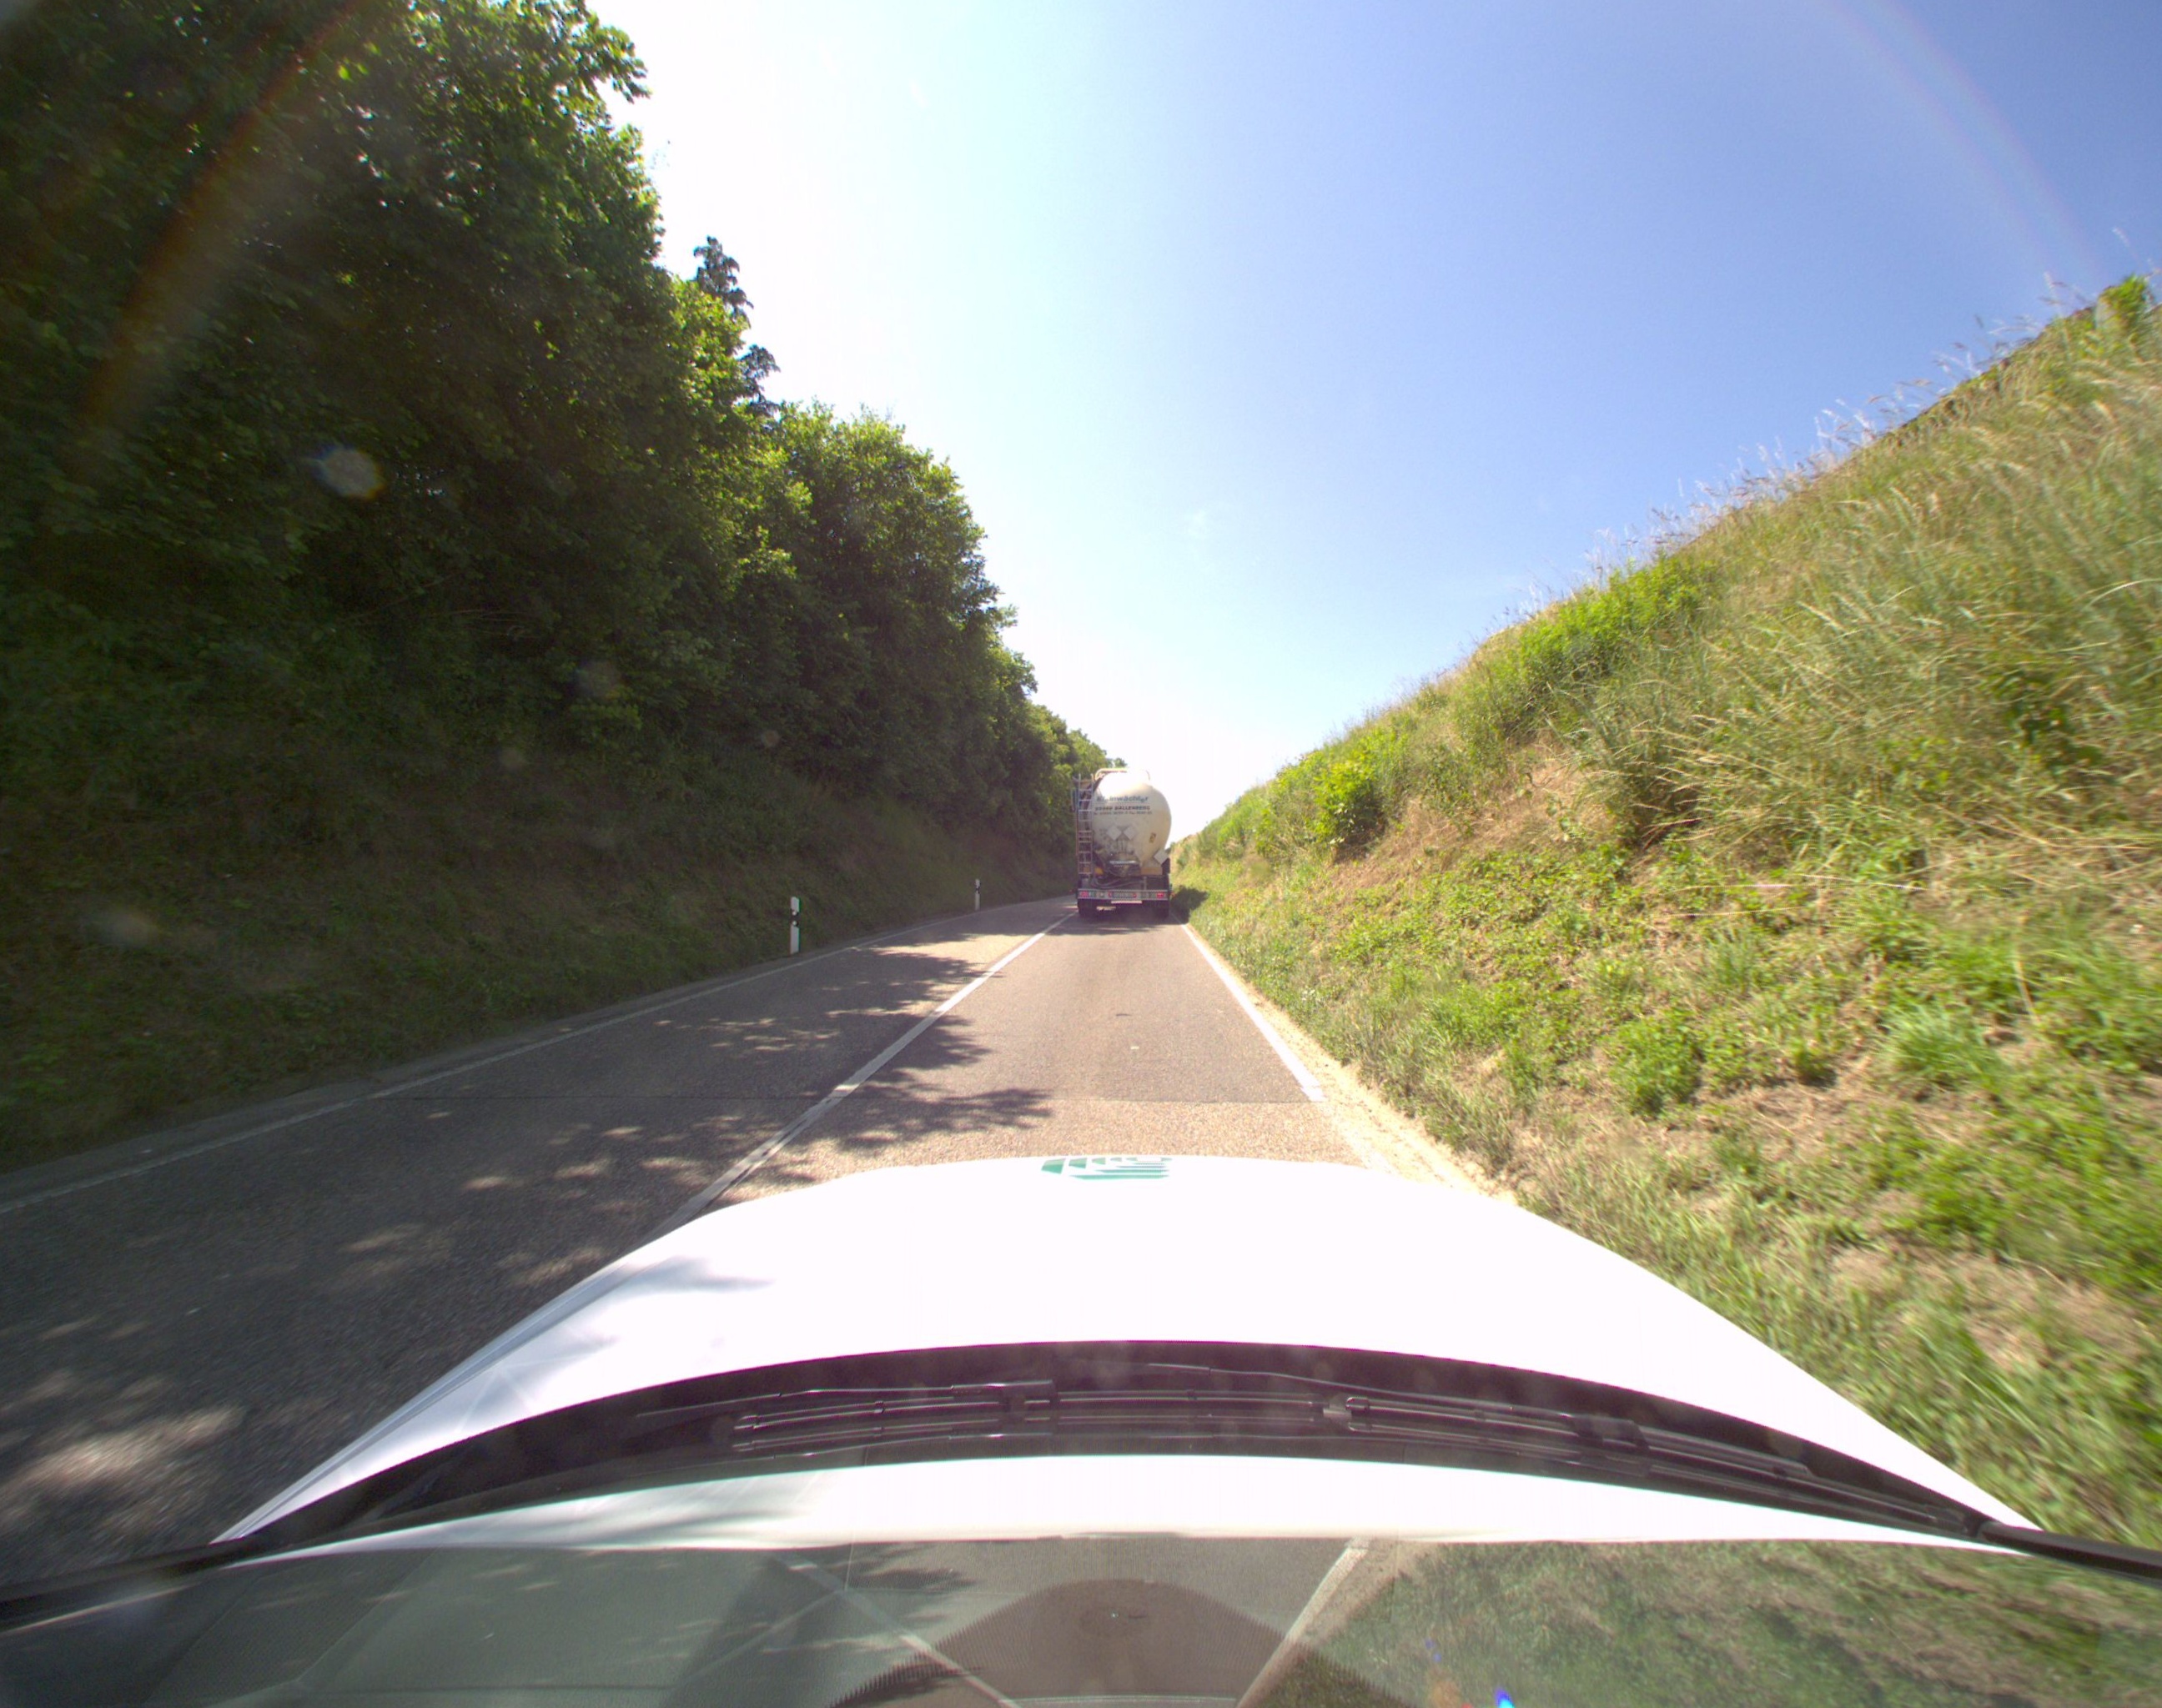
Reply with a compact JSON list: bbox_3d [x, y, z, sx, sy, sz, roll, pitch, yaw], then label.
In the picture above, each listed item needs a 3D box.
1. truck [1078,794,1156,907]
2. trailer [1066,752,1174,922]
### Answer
[{"bbox_3d":[1.517,0.020,31.986,2.715,3.930,7.269,0,-2,4],"label":"truck"},{"bbox_3d":[1.227,-0.300,26.076,2.650,4.189,11.909,0,-1,2],"label":"trailer"}]
